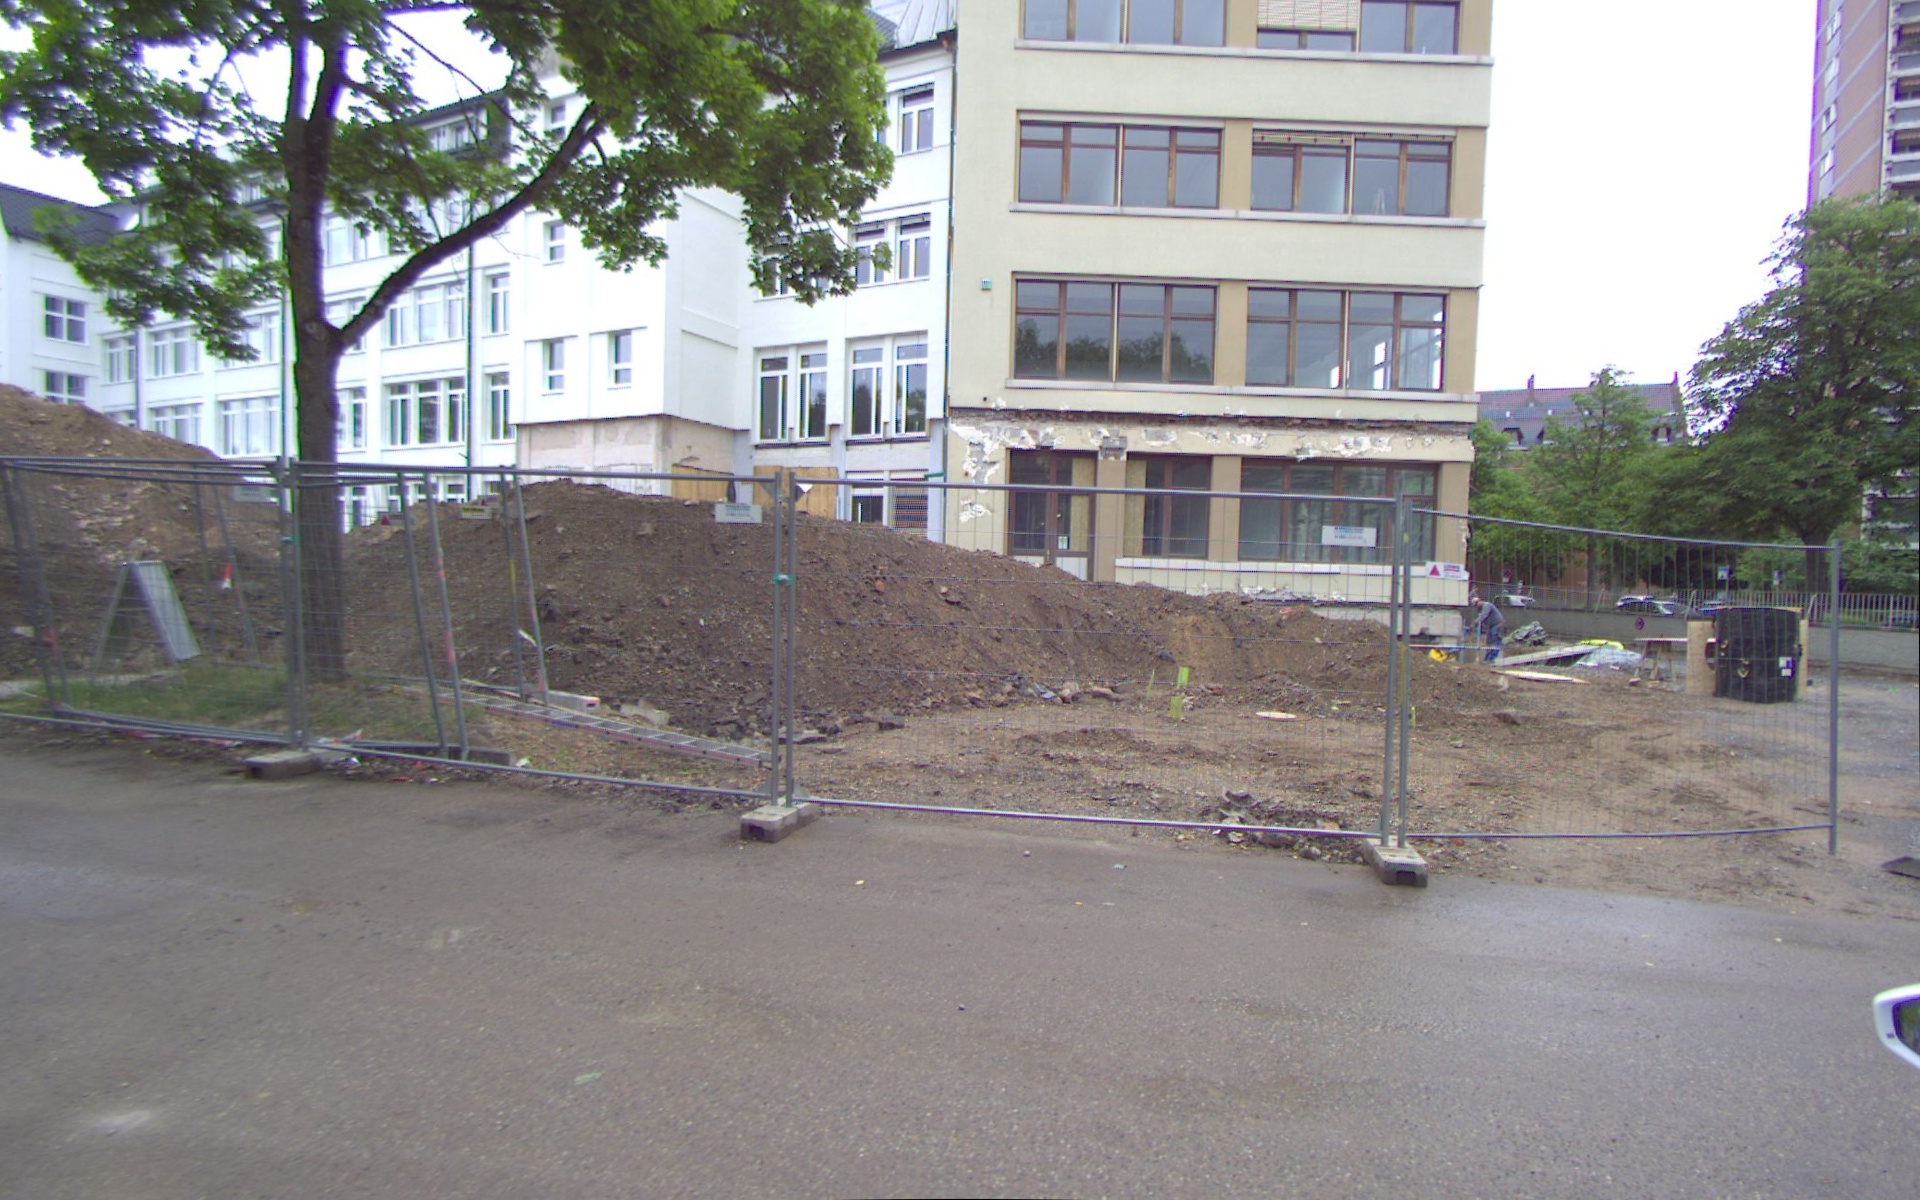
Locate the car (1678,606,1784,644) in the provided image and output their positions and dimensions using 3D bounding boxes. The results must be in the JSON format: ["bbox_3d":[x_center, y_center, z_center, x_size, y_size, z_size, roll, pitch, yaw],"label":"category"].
[{"bbox_3d":[34.415,1.082,44.973,1.571,1.539,3.999,2,1,-1],"label":"car"}]

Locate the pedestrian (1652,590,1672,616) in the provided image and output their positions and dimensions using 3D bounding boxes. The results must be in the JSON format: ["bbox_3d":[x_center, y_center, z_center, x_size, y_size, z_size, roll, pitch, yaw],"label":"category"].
[{"bbox_3d":[42.952,0.203,61.435,0.829,1.548,0.521,1,2,-13],"label":"pedestrian"}]

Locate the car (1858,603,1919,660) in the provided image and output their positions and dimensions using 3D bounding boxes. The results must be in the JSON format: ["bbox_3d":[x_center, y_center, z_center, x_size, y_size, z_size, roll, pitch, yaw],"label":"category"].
[{"bbox_3d":[25.438,0.855,25.405,1.797,1.437,3.999,2,1,-1],"label":"car"}]

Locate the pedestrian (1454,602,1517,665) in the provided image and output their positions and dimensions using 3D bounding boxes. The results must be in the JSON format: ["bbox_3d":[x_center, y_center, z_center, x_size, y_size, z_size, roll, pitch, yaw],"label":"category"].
[{"bbox_3d":[12.708,0.804,24.311,0.964,1.457,0.930,2,1,-5],"label":"pedestrian"}]
